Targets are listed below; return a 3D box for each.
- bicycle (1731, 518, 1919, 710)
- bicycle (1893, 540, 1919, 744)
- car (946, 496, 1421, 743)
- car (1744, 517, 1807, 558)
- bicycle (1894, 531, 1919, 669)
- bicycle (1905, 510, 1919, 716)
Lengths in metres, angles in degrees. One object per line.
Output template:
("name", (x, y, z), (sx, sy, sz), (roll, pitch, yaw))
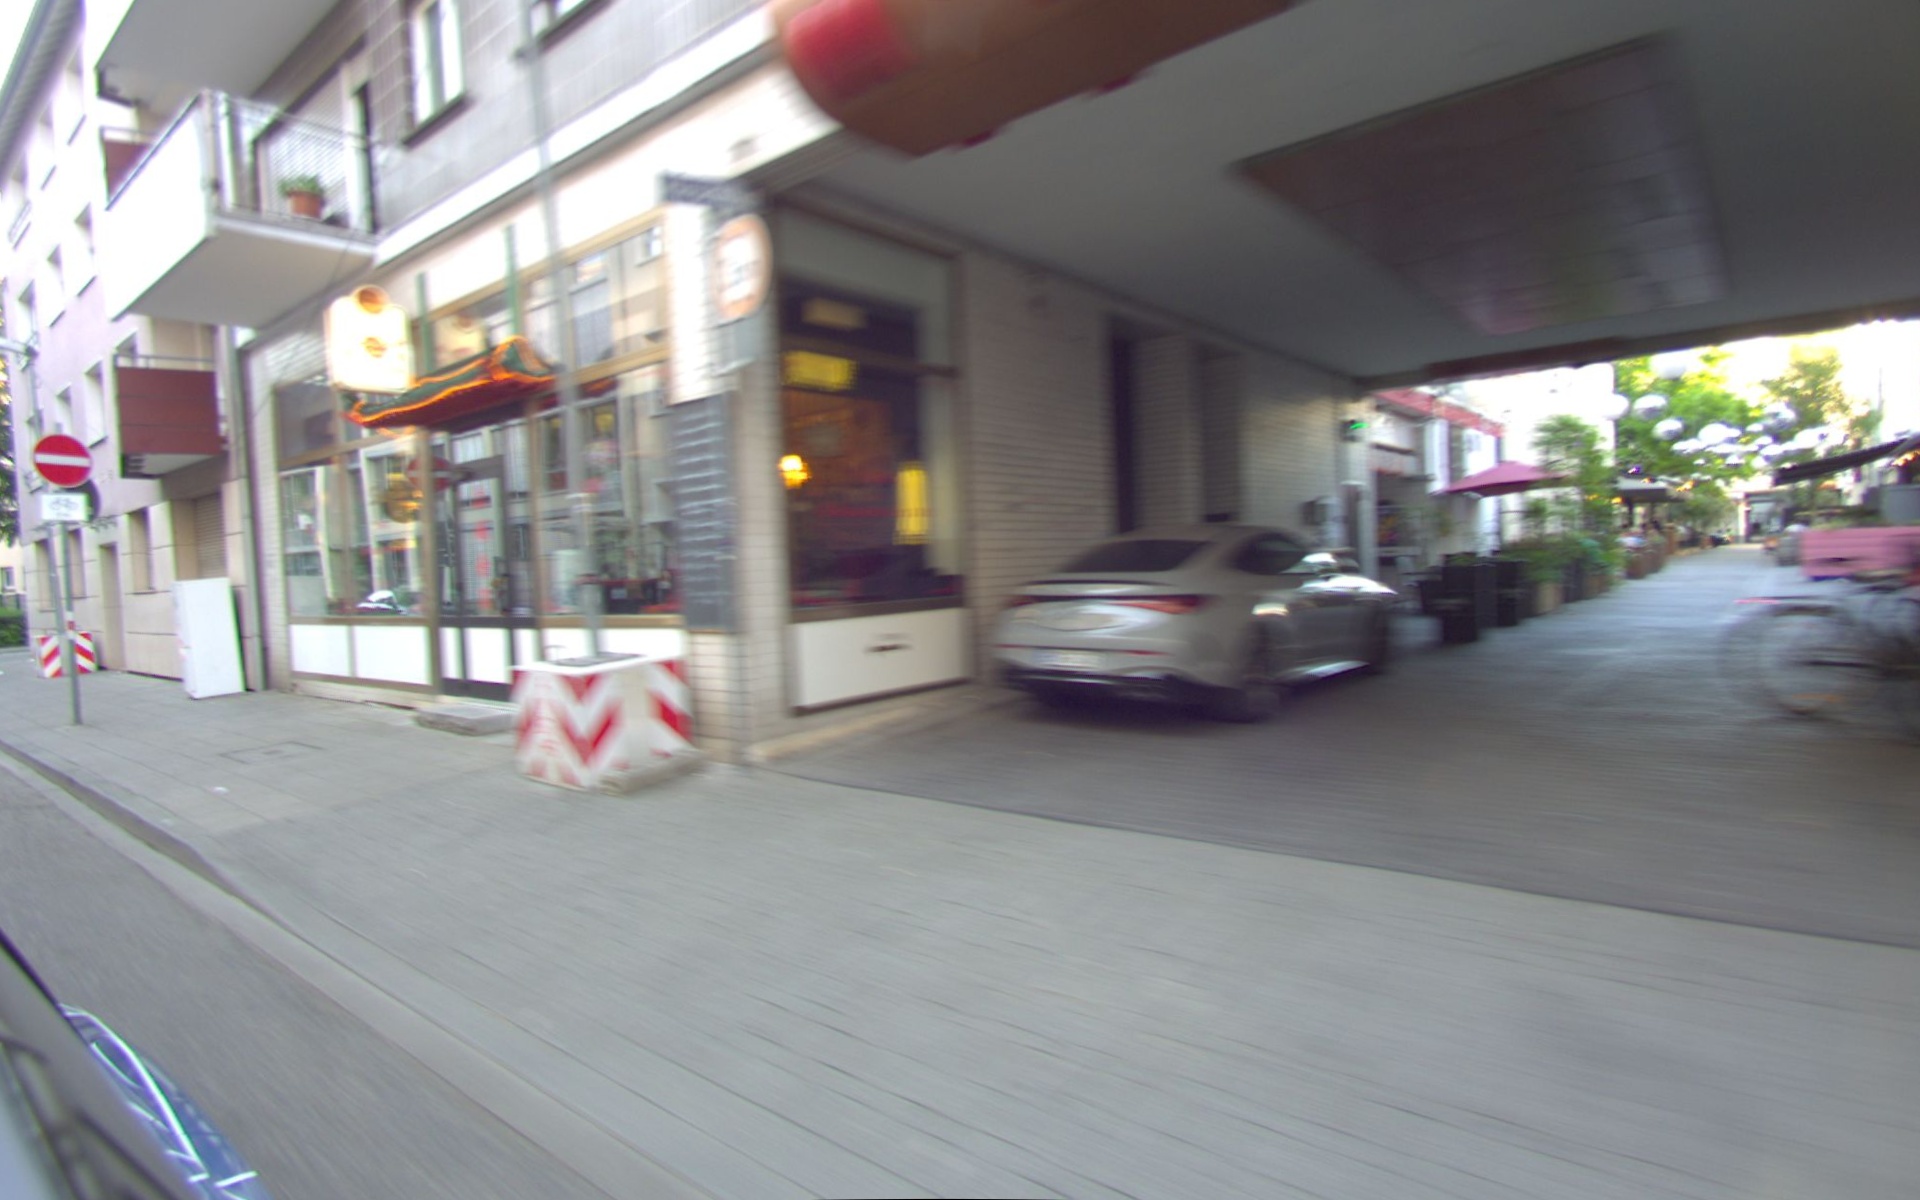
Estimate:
("bicycle", (5.765, 0.076, 6.149), (1.646, 1.133, 0.424), (-1, 1, 29))
("bicycle", (5.567, 0.192, 4.791), (1.652, 1.025, 0.447), (-1, 3, 41))
("car", (2.108, 0.002, 8.406), (2.067, 1.474, 4.389), (-2, 3, 39))
("car", (35.650, -2.719, 44.207), (1.999, 1.610, 3.947), (-1, 2, 40))
("bicycle", (8.757, -0.015, 8.245), (1.654, 1.166, 0.499), (-1, 1, 45))
("bicycle", (6.218, 0.049, 5.410), (1.650, 1.169, 0.423), (-2, 3, 37))
